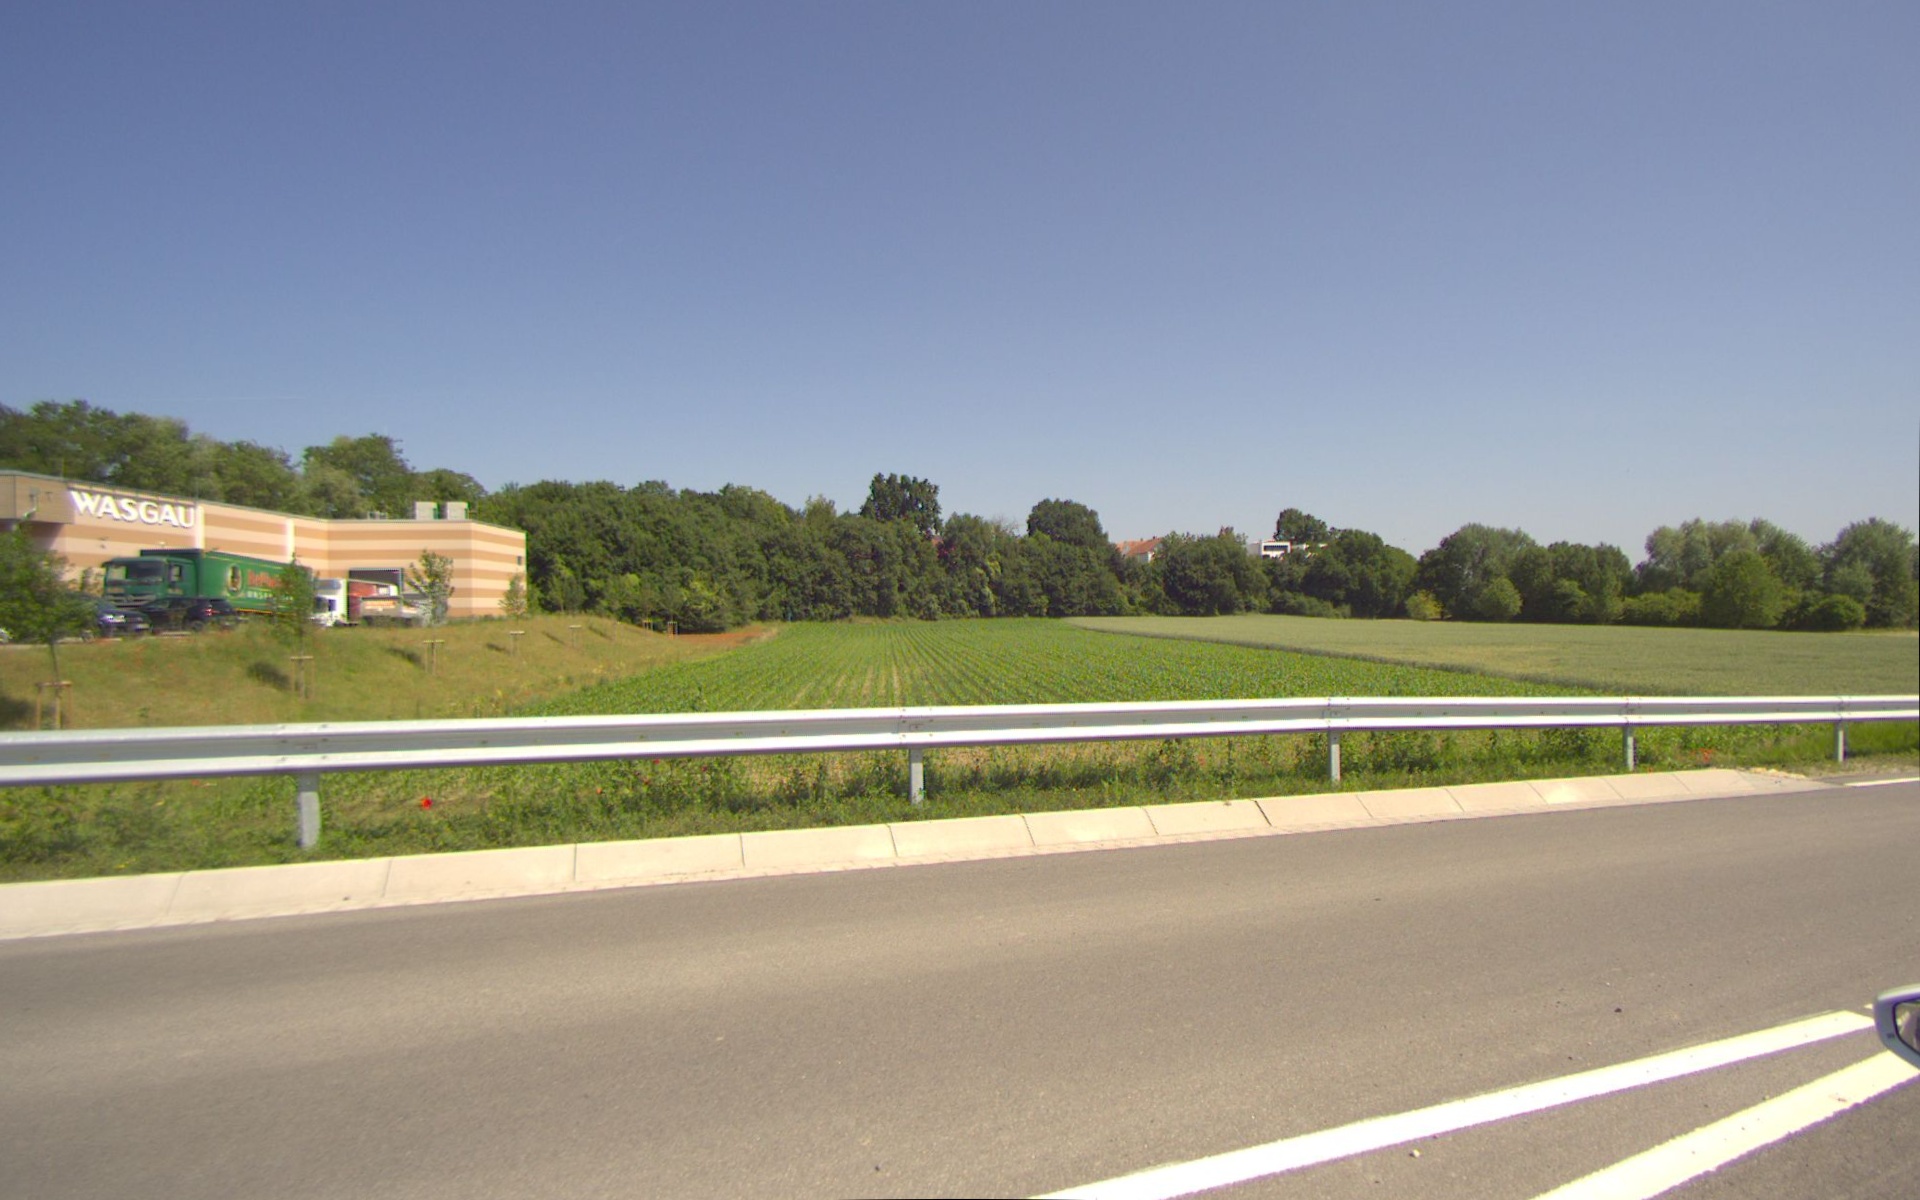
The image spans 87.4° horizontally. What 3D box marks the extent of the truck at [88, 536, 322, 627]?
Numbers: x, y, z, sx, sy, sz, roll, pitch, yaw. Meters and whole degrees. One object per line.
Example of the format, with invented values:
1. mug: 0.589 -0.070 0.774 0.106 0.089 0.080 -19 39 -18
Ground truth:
1. truck: -32.974 -0.714 44.633 2.822 3.523 9.942 2 0 0

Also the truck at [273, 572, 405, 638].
1. truck: -37.418 0.295 60.998 2.823 3.611 8.878 2 0 -4

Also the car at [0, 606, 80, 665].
1. car: -30.933 1.093 31.941 3.928 1.784 1.996 1 0 -10
